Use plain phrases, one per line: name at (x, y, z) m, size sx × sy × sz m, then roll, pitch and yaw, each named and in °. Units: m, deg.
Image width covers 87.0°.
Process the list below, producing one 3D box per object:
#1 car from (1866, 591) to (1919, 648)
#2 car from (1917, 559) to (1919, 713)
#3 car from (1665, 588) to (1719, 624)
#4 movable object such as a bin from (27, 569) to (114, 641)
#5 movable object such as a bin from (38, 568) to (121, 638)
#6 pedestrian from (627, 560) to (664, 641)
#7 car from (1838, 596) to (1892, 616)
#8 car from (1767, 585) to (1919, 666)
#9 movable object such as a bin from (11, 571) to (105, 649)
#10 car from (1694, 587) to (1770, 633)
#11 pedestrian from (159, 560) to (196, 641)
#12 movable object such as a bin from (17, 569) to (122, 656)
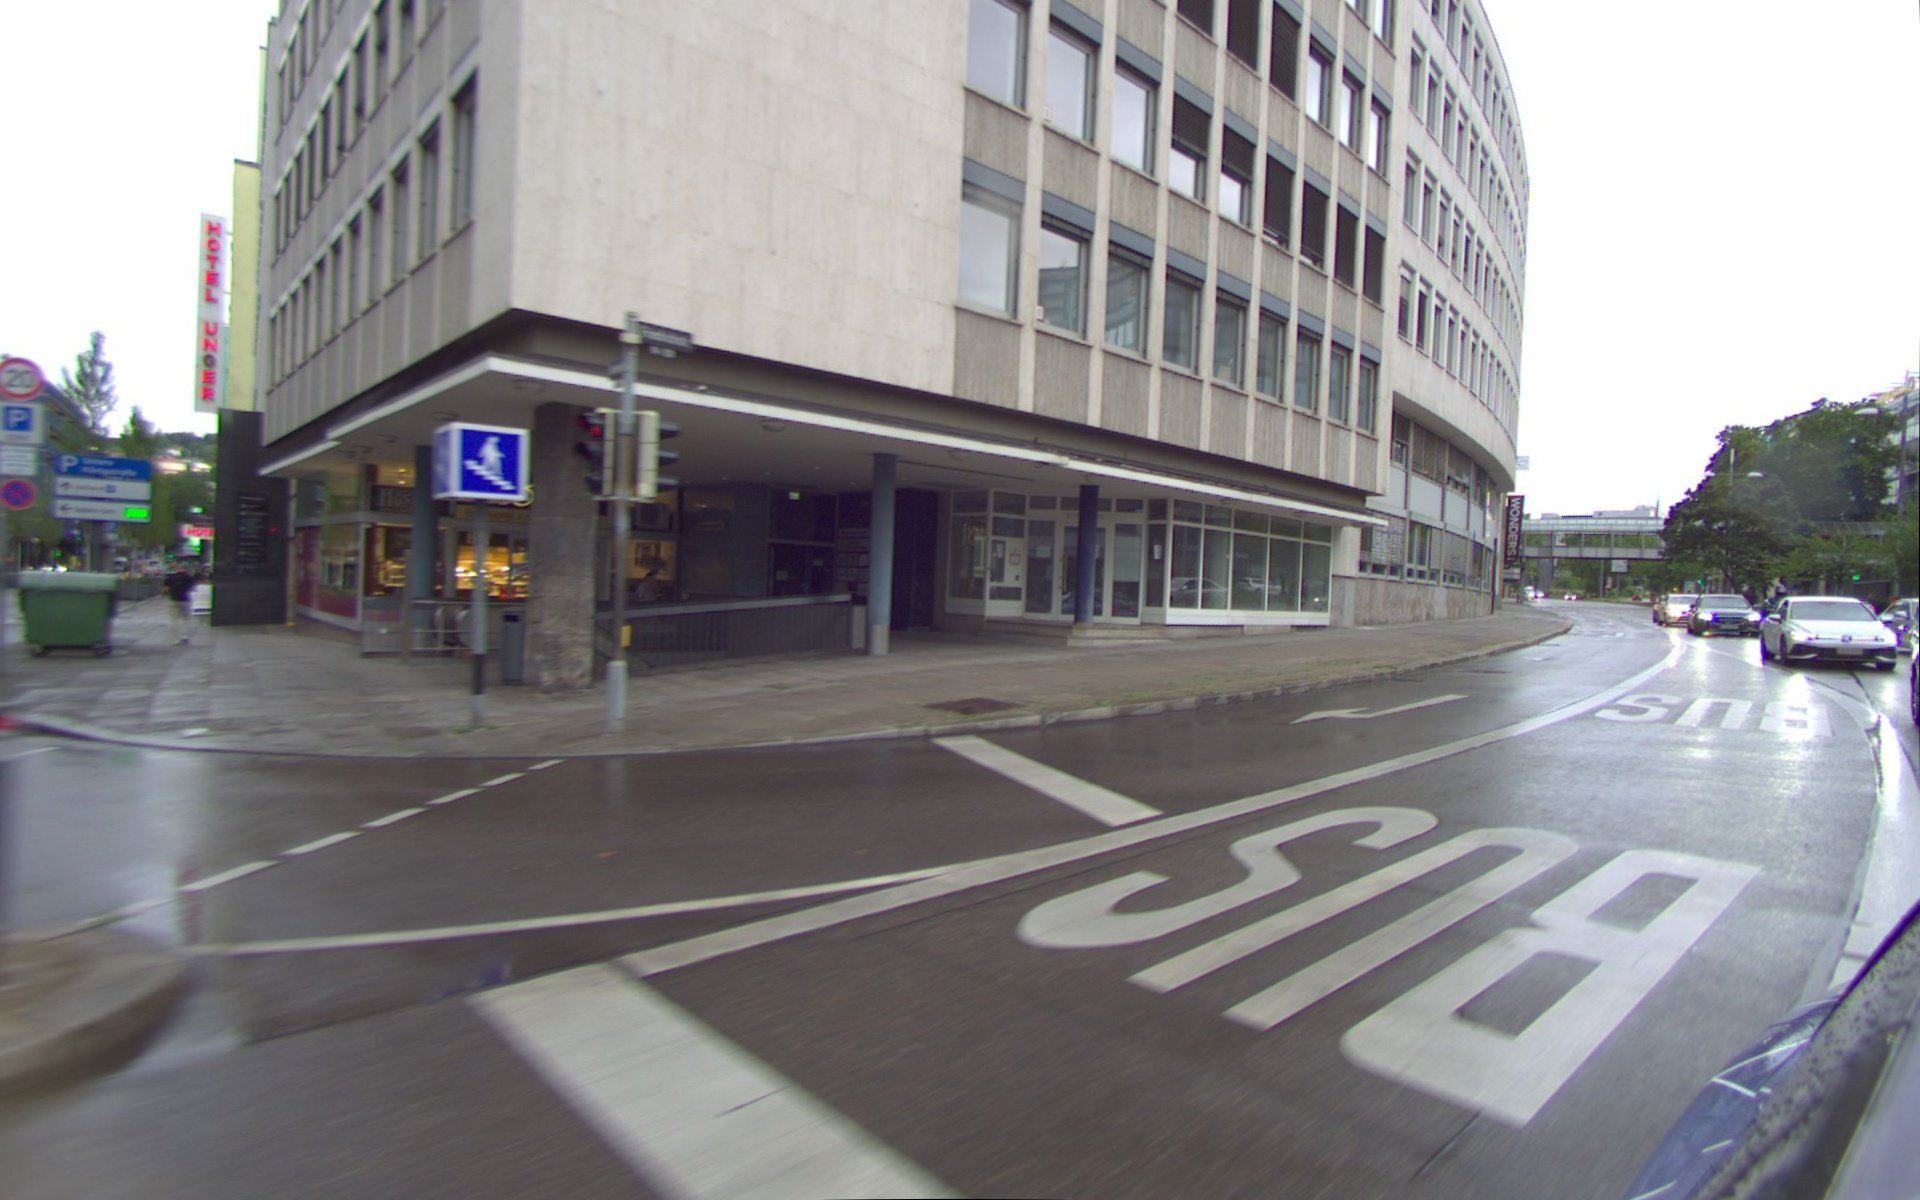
car at (25.179, 0.463, 26.223) m, size 1.763 × 1.398 × 4.050 m, roll 1°, pitch 1°, yaw 31°
car at (11.090, 0.458, 9.984) m, size 1.907 × 1.878 × 4.957 m, roll 1°, pitch 1°, yaw 38°
car at (33.270, 0.241, 46.091) m, size 1.710 × 1.483 × 3.991 m, roll 0°, pitch 1°, yaw 32°
movable object such as a bin at (-17.852, 0.095, 20.348) m, size 1.176 × 1.400 × 1.104 m, roll 1°, pitch 1°, yaw -35°
movable object such as a bin at (-18.502, 0.056, 21.300) m, size 1.176 × 1.400 × 1.104 m, roll 1°, pitch 1°, yaw -35°
pedestrian at (-7.245, 0.013, 23.341) m, size 0.696 × 1.827 × 0.802 m, roll 1°, pitch 0°, yaw -8°
car at (65.071, 0.421, 72.817) m, size 1.732 × 1.390 × 3.968 m, roll 1°, pitch 1°, yaw 24°
car at (18.696, 0.484, 21.536) m, size 1.917 × 1.498 × 3.954 m, roll 2°, pitch 1°, yaw 32°
movable object such as a bin at (-17.027, 0.180, 19.147) m, size 1.176 × 1.400 × 1.104 m, roll 1°, pitch 1°, yaw -35°
car at (27.701, 0.305, 36.450) m, size 1.987 × 1.483 × 4.349 m, roll 0°, pitch 1°, yaw 35°
pedestrian at (-17.301, 0.010, 22.365) m, size 0.586 × 1.753 × 0.771 m, roll 0°, pitch 1°, yaw -42°
movable object such as a bin at (-15.524, 0.209, 17.687) m, size 1.257 × 1.448 × 0.969 m, roll 1°, pitch 1°, yaw -35°
